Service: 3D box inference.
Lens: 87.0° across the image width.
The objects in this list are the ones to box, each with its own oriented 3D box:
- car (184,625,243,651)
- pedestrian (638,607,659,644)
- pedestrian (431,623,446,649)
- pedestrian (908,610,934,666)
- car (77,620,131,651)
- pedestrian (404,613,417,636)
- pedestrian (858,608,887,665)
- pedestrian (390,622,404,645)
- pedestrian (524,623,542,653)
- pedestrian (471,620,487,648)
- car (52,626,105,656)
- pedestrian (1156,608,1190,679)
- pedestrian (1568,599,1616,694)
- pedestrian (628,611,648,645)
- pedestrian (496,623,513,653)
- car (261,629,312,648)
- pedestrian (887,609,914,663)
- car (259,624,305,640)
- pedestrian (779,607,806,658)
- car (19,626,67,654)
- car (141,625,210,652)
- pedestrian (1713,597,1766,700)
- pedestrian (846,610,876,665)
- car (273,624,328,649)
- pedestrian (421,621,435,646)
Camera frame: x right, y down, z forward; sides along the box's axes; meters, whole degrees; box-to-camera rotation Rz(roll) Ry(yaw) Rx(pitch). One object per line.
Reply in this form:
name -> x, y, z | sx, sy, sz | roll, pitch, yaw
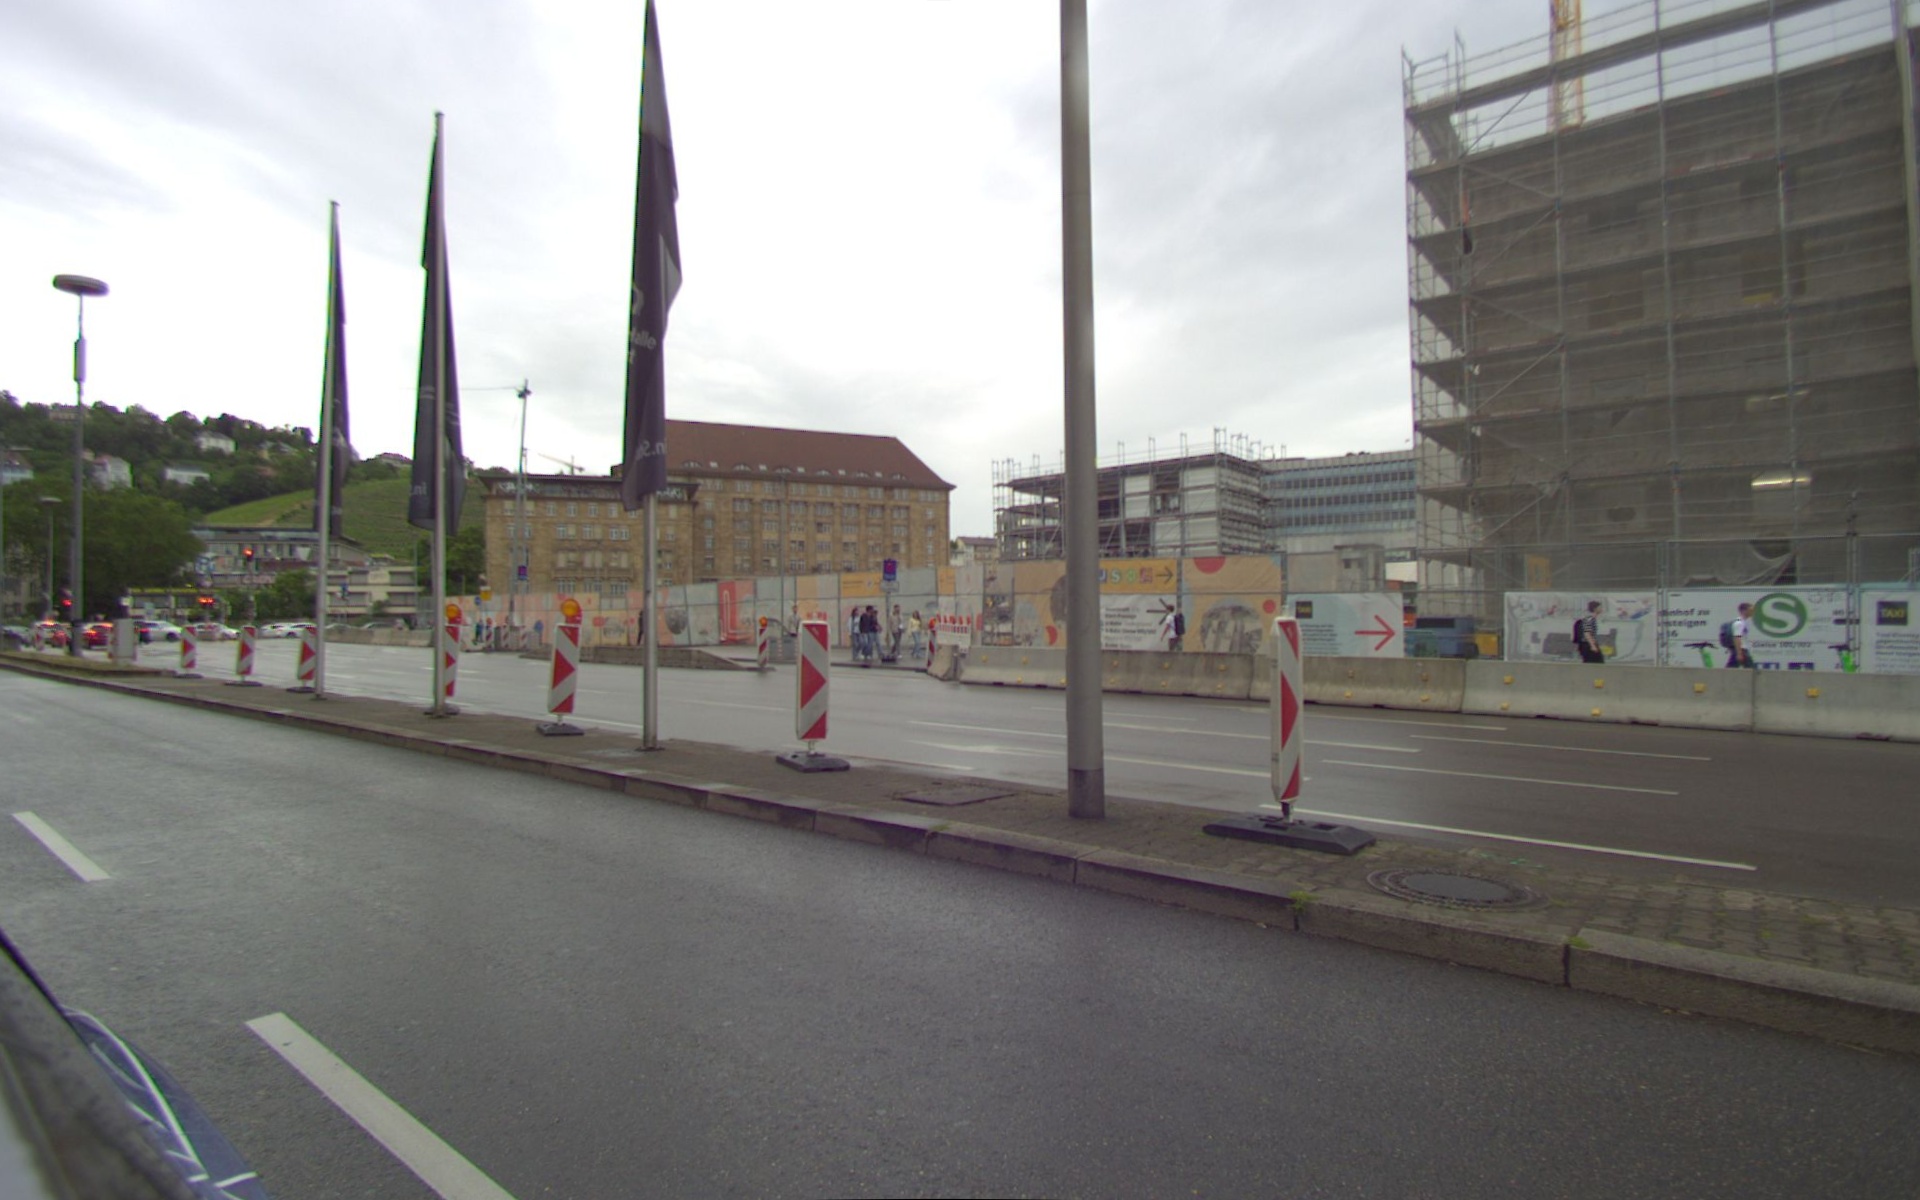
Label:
car -> -63.995, 3.207, 86.800 | 3.932, 2.029, 2.006 | -1, 0, -33
pedestrian -> -13.856, 1.111, 44.965 | 0.544, 1.628, 0.706 | -1, 0, 41
pedestrian -> -33.009, 2.274, 64.091 | 0.544, 1.628, 0.706 | -1, 0, 41
pedestrian -> -1.314, 1.248, 33.813 | 0.651, 1.850, 0.557 | -1, 0, -29
car -> -48.685, 1.989, 57.532 | 3.914, 1.707, 1.762 | -2, -2, 41
pedestrian -> -39.544, 1.755, 72.816 | 0.705, 1.628, 0.544 | -1, 0, -45
pedestrian -> -2.928, 1.205, 33.744 | 0.704, 1.850, 0.719 | -1, 0, -31
pedestrian -> -40.157, 2.386, 72.192 | 0.705, 1.628, 0.544 | -1, 0, -45
pedestrian -> -23.423, 2.078, 55.526 | 0.544, 1.628, 0.706 | -1, 0, 41
pedestrian -> -28.234, 1.982, 59.428 | 0.544, 1.628, 0.706 | -1, 0, 41
car -> -53.101, 2.450, 60.947 | 3.913, 1.707, 1.763 | -1, 0, 39
pedestrian -> 5.658, 1.134, 26.936 | 0.717, 1.850, 0.475 | -1, 0, 41
pedestrian -> 12.682, 0.913, 20.318 | 0.717, 1.850, 0.579 | -1, 0, 41
pedestrian -> -15.473, 1.327, 48.609 | 0.544, 1.628, 0.706 | -1, 0, 41
pedestrian -> -25.581, 2.126, 56.841 | 0.544, 1.628, 0.706 | -1, 0, 41
car -> -69.435, 3.949, 104.326 | 4.136, 1.871, 1.833 | -1, 0, -44
pedestrian -> -1.971, 1.171, 33.505 | 0.704, 1.757, 0.565 | -1, 0, -29
car -> -71.890, 3.397, 107.321 | 3.934, 1.644, 2.005 | 0, -2, -36
pedestrian -> -6.189, 1.201, 37.356 | 0.720, 1.850, 0.656 | -1, 0, 41
car -> -59.588, 2.548, 65.730 | 3.913, 1.707, 1.763 | -1, 0, 39
car -> -64.518, 3.162, 83.342 | 4.328, 2.029, 2.006 | -1, 0, -33
pedestrian -> 14.286, 0.874, 18.541 | 0.717, 1.850, 0.475 | -1, 0, 41
pedestrian -> -3.207, 1.190, 32.702 | 0.704, 1.746, 0.719 | -1, 0, -31
car -> -56.224, 3.087, 86.343 | 3.932, 2.029, 2.006 | -1, 0, -33
pedestrian -> -35.767, 2.238, 68.021 | 0.544, 1.628, 0.706 | -1, 0, 41
